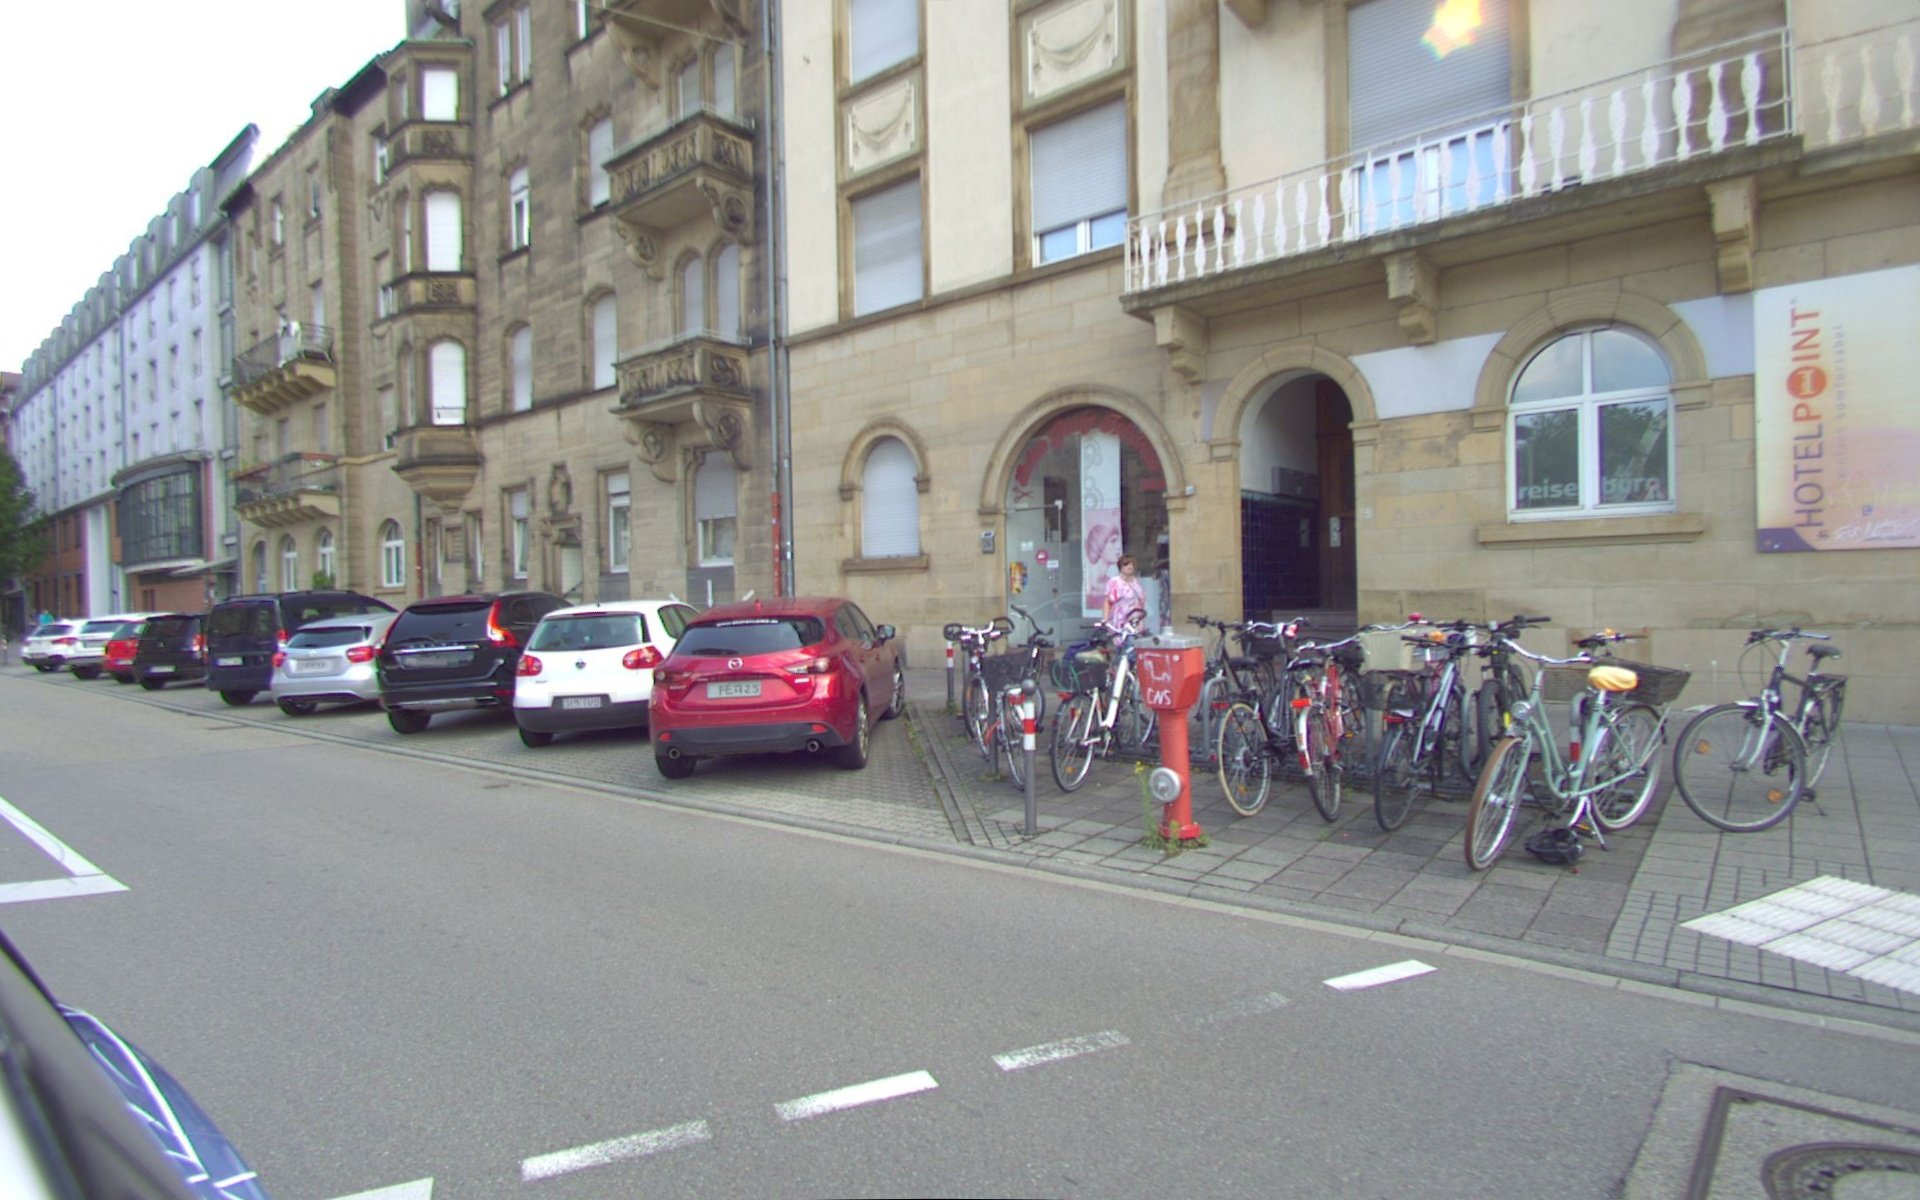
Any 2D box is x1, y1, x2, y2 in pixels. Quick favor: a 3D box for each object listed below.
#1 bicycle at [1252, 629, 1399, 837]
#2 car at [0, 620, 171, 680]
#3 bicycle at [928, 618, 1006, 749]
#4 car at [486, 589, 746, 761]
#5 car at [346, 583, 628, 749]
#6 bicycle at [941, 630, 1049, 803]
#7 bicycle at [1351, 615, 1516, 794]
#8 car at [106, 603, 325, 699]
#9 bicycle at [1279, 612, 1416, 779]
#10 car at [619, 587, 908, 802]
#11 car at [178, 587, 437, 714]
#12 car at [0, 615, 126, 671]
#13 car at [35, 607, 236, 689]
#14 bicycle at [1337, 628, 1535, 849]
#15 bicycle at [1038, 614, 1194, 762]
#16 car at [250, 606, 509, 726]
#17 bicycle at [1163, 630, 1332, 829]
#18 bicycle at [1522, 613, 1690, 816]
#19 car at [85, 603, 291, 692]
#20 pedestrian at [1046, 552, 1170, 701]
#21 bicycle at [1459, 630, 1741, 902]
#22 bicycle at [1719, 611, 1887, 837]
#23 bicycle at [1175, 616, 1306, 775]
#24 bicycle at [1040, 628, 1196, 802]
[{"bbox_3d":[2.302,0.763,6.293,0.417,1.060,1.355,-2,2,38],"label":"bicycle"},{"bbox_3d":[-25.156,1.384,29.184,1.707,1.485,3.953,-1,0,1],"label":"car"},{"bbox_3d":[0.033,0.761,9.930,0.549,1.060,1.907,-3,1,-4],"label":"bicycle"},{"bbox_3d":[-3.812,0.726,11.982,1.707,1.467,3.956,-4,2,-1],"label":"car"},{"bbox_3d":[-6.053,0.726,13.531,1.778,1.702,3.954,-4,2,1],"label":"car"},{"bbox_3d":[0.225,0.824,7.817,0.549,1.060,1.815,-3,1,-6],"label":"bicycle"},{"bbox_3d":[3.431,0.693,7.276,1.558,1.060,0.481,-4,2,-42],"label":"bicycle"},{"bbox_3d":[-15.903,1.006,21.920,1.707,1.597,3.954,-3,3,1],"label":"car"},{"bbox_3d":[2.975,0.673,7.698,0.462,1.060,1.464,-2,2,41],"label":"bicycle"},{"bbox_3d":[-1.608,0.703,9.718,1.788,1.467,3.998,-3,2,2],"label":"car"},{"bbox_3d":[-11.414,0.790,18.069,1.710,1.882,3.947,-2,2,6],"label":"car"},{"bbox_3d":[-30.283,1.410,33.654,1.707,1.597,3.954,-4,1,1],"label":"car"},{"bbox_3d":[-20.693,1.137,25.642,1.708,1.597,3.954,-4,2,1],"label":"car"},{"bbox_3d":[2.889,0.755,6.065,1.558,1.060,0.481,-4,2,-42],"label":"bicycle"},{"bbox_3d":[1.376,0.701,8.721,0.557,1.060,1.611,-2,2,39],"label":"bicycle"},{"bbox_3d":[-9.073,0.948,16.251,1.708,1.439,3.952,-4,2,2],"label":"car"},{"bbox_3d":[1.919,0.778,6.621,0.462,1.060,1.465,-2,2,40],"label":"bicycle"},{"bbox_3d":[4.163,0.662,6.476,1.589,1.060,0.481,-4,2,-42],"label":"bicycle"},{"bbox_3d":[-17.993,1.038,23.851,1.707,1.597,3.954,-3,3,1],"label":"car"},{"bbox_3d":[1.731,0.284,11.816,0.995,1.606,0.932,-2,3,41],"label":"pedestrian"},{"bbox_3d":[3.284,0.751,5.134,1.708,1.060,0.532,-4,1,-34],"label":"bicycle"},{"bbox_3d":[4.825,0.638,5.765,1.421,1.060,0.481,-4,2,-40],"label":"bicycle"},{"bbox_3d":[2.256,0.707,8.035,0.462,1.060,1.466,-2,2,37],"label":"bicycle"},{"bbox_3d":[1.205,0.797,7.509,0.462,1.060,1.466,-2,2,37],"label":"bicycle"}]
